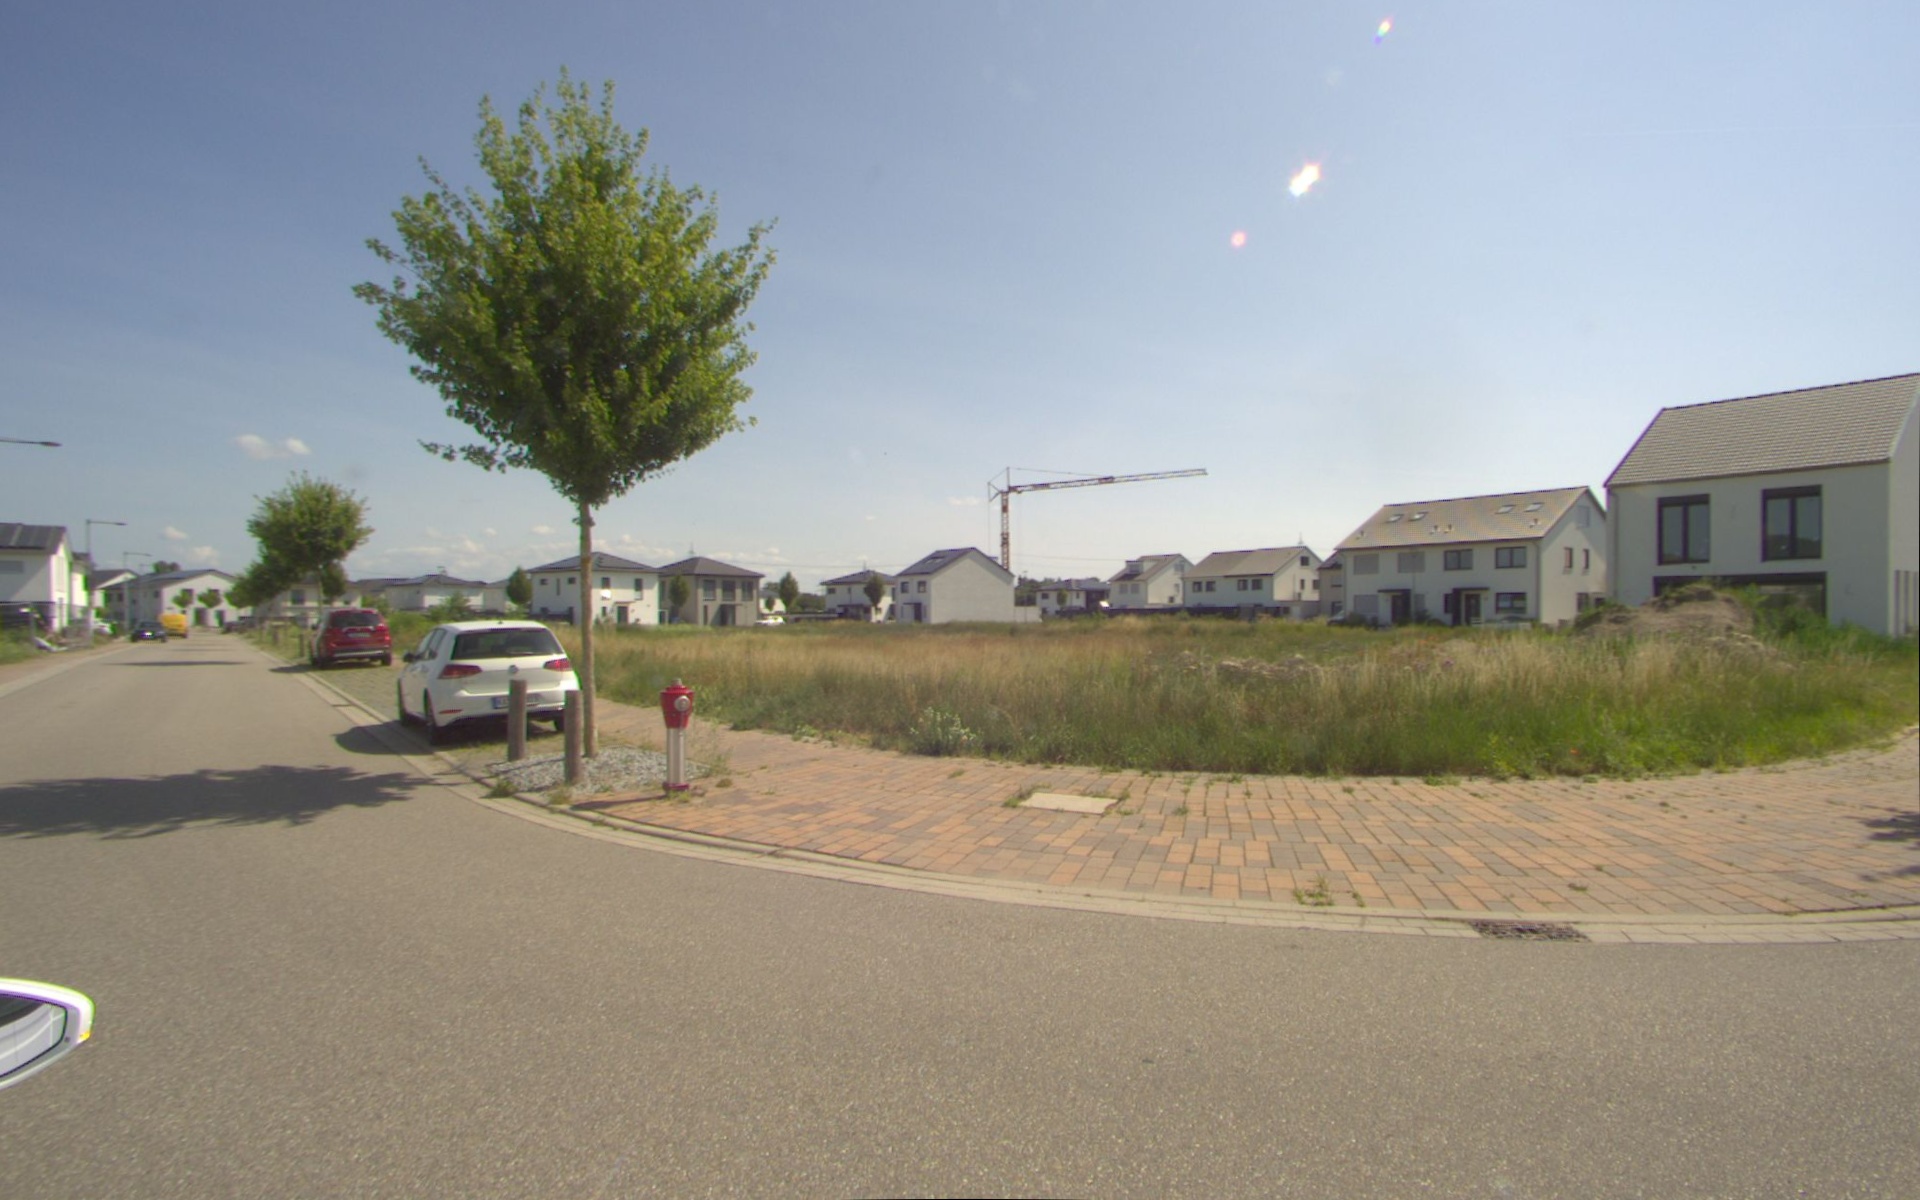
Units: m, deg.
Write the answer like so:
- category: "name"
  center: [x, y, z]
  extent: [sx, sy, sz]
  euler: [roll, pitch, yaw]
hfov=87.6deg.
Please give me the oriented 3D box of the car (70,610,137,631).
- category: "car"
  center: [-75.823, 1.844, 88.655]
  extent: [1.792, 1.522, 4.151]
  euler: [0, -5, 37]

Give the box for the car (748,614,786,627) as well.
- category: "car"
  center: [-21.447, 2.309, 111.471]
  extent: [1.730, 1.416, 3.971]
  euler: [-2, -2, 39]

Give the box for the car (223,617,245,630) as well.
- category: "car"
  center: [-84.677, 2.715, 116.804]
  extent: [1.617, 1.339, 3.799]
  euler: [1, -3, -43]

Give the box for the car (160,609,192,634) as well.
- category: "car"
  center: [-65.270, 1.804, 83.312]
  extent: [1.927, 2.007, 4.181]
  euler: [0, -2, -41]

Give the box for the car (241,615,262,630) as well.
- category: "car"
  center: [-72.702, 2.333, 102.704]
  extent: [1.625, 1.420, 3.783]
  euler: [0, -2, -38]

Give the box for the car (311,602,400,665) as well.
- category: "car"
  center: [-17.844, 0.930, 29.472]
  extent: [1.761, 1.685, 4.399]
  euler: [-1, 1, -37]

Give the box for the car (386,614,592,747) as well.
- category: "car"
  center: [-6.561, 0.961, 13.709]
  extent: [1.759, 1.439, 4.135]
  euler: [-2, 1, -36]

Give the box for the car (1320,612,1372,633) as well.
- category: "car"
  center: [29.921, 1.702, 77.622]
  extent: [3.947, 1.594, 1.804]
  euler: [0, -1, -34]

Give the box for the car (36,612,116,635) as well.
- category: "car"
  center: [-63.819, 1.694, 72.377]
  extent: [4.026, 1.602, 1.774]
  euler: [2, -1, -32]

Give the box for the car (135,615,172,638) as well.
- category: "car"
  center: [-53.937, 1.766, 66.994]
  extent: [1.731, 1.422, 4.128]
  euler: [3, -3, -37]
